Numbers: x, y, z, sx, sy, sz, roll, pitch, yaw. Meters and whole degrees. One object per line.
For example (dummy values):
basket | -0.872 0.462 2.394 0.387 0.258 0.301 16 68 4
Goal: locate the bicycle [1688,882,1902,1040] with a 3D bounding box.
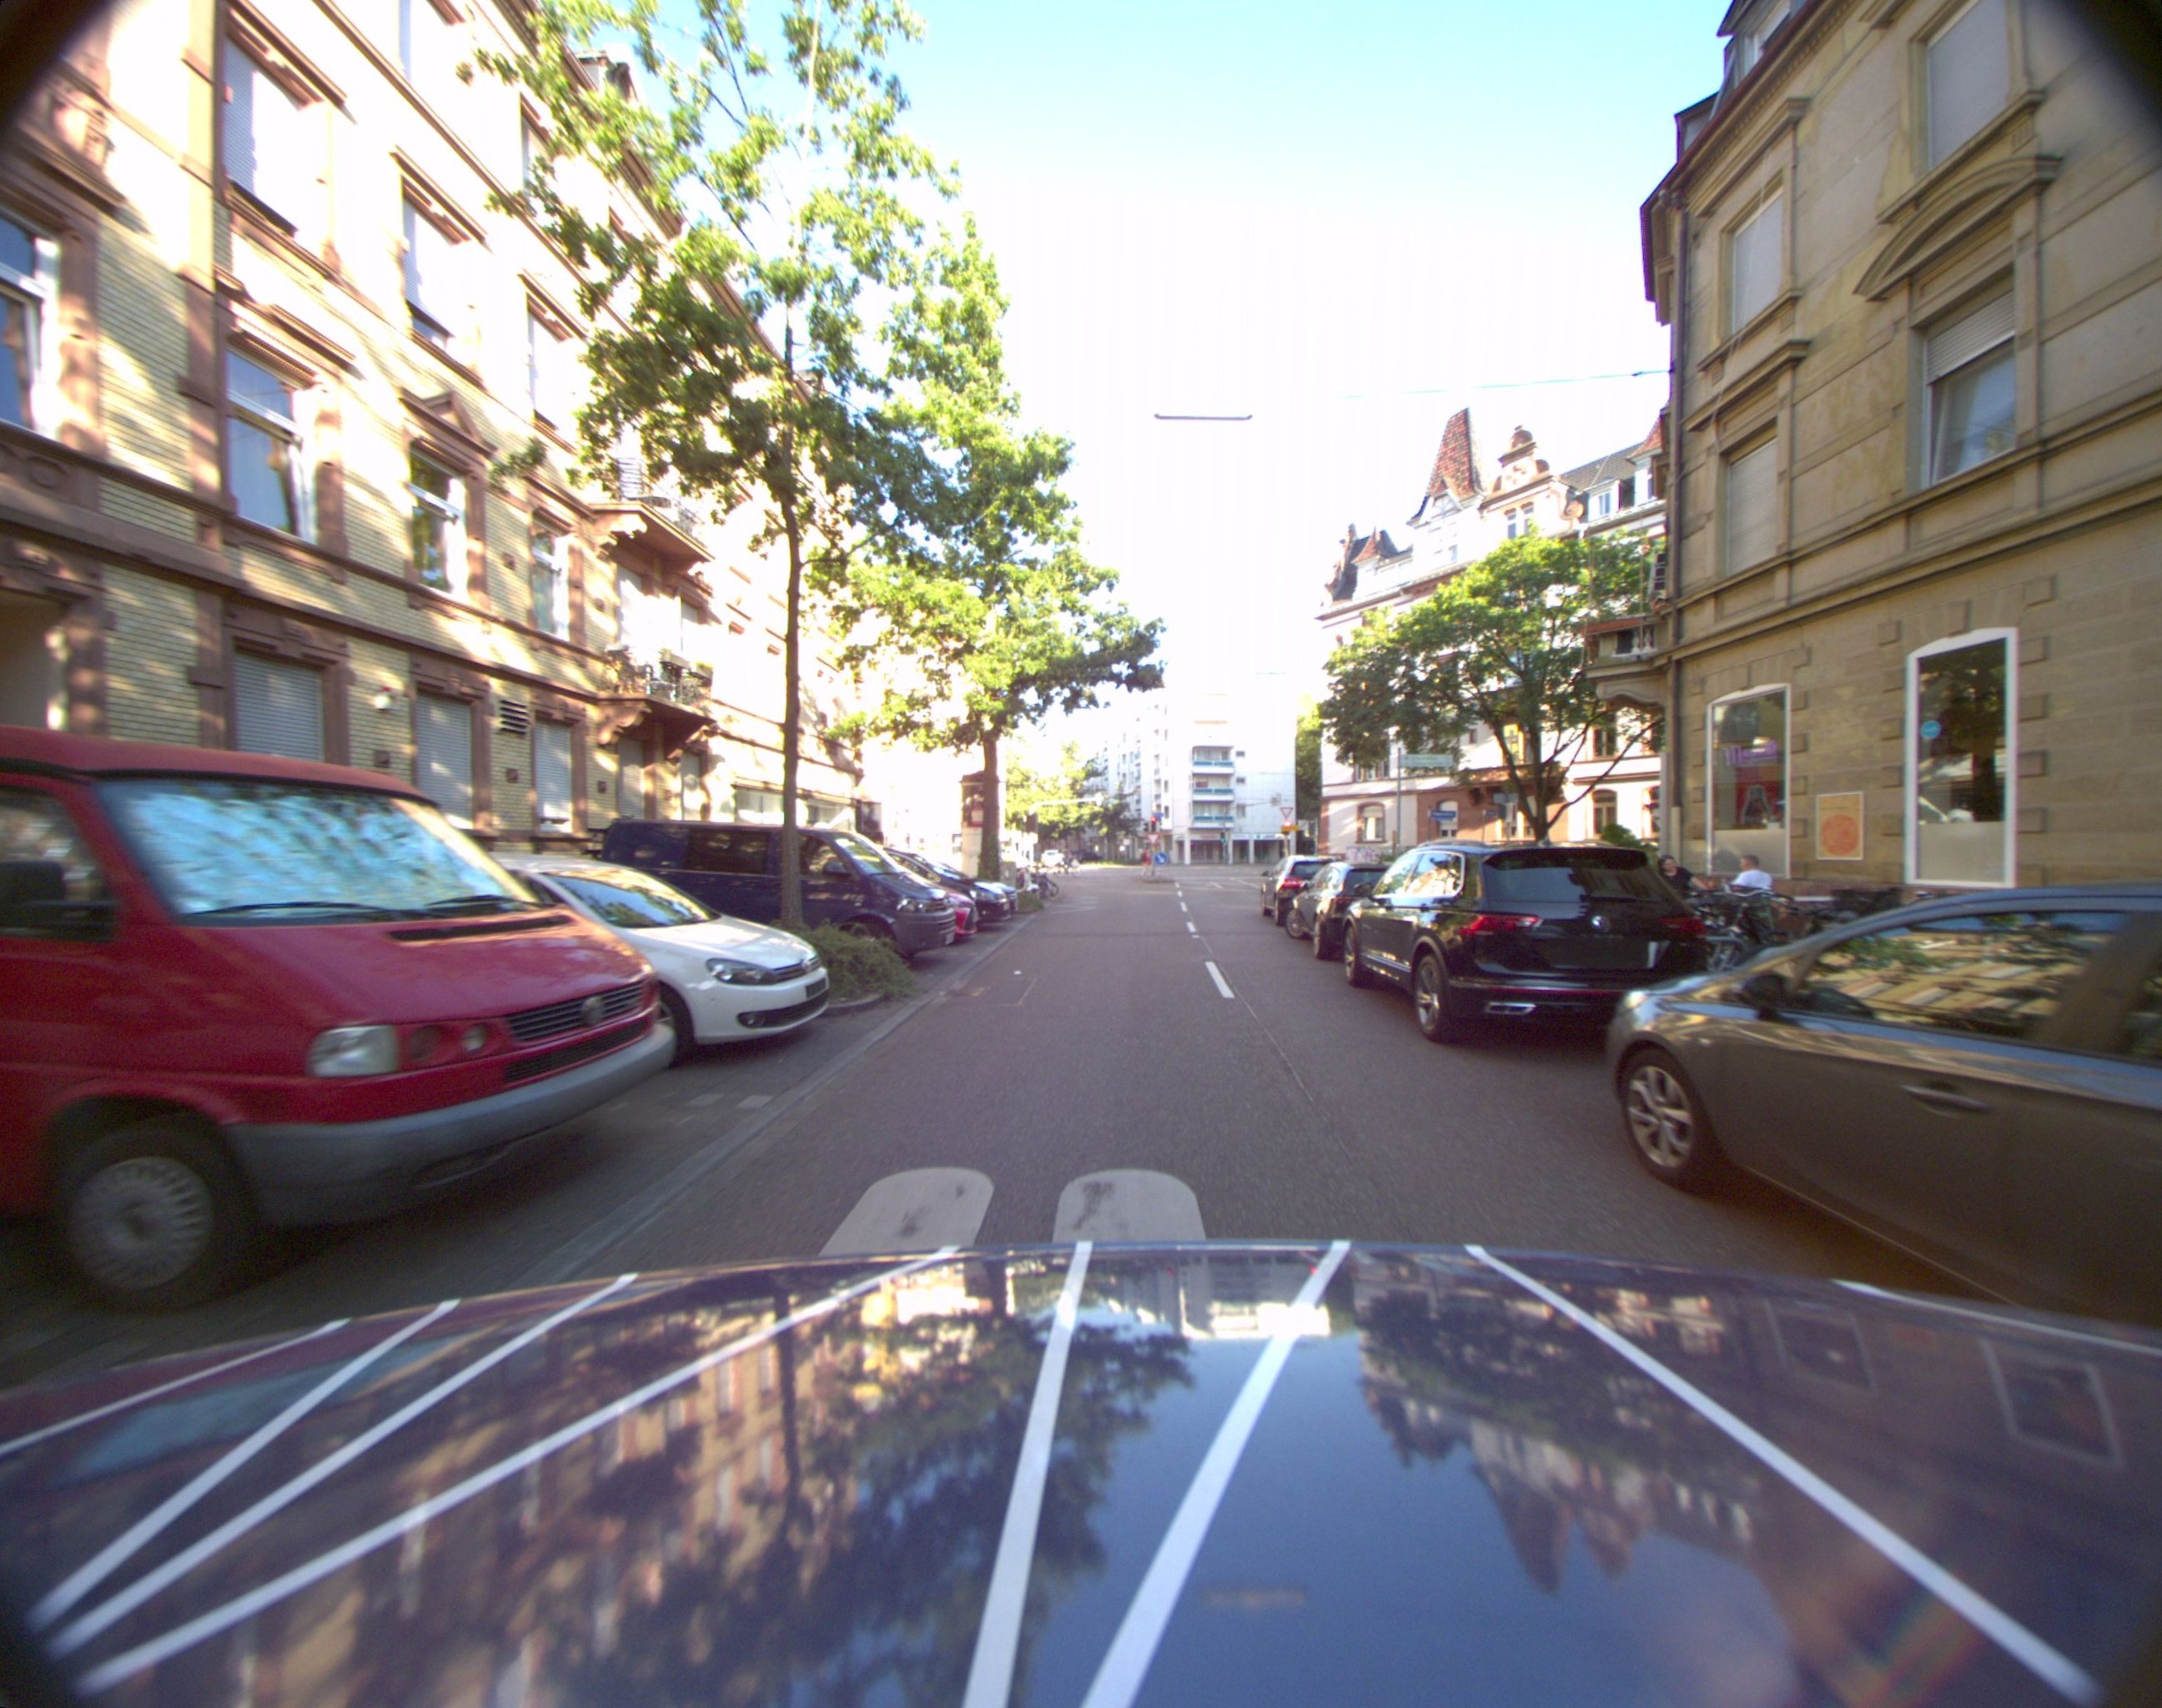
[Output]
bicycle | 6.099 0.856 6.477 1.875 1.122 0.527 -2 1 -20

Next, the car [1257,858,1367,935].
car | 5.123 0.857 17.357 1.762 1.479 4.141 0 1 8

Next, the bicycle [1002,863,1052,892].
bicycle | -2.049 0.901 29.055 1.940 1.087 0.424 1 2 -34

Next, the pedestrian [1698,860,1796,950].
pedestrian | 9.429 0.706 10.792 0.727 1.207 0.756 -1 1 1

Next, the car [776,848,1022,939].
car | -3.770 0.754 16.019 4.694 1.669 1.853 1 1 12

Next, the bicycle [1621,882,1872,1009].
bicycle | 6.397 0.875 7.369 1.871 1.122 0.528 -2 1 5

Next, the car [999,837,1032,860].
car | -9.433 -0.813 108.102 3.328 3.160 8.072 -1 1 -15

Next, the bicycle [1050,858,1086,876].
bicycle | -0.732 0.730 42.708 1.881 0.907 0.633 -3 1 -27

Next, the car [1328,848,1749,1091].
car | 3.757 0.749 7.325 1.762 1.590 4.553 0 0 7

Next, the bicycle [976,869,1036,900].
bicycle | -2.473 0.999 25.106 1.934 0.922 0.354 2 2 2

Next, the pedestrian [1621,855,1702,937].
pedestrian | 9.293 0.657 12.186 0.727 1.252 0.757 -1 1 1

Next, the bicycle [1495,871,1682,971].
bicycle | 6.210 0.814 9.361 1.871 1.122 0.528 -2 1 5

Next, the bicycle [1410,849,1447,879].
bicycle | 14.540 0.384 31.865 0.547 1.189 2.960 -1 1 7

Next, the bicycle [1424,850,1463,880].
bicycle | 15.132 0.443 31.801 0.547 1.189 2.960 -1 1 7

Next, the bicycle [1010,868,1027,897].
bicycle | -2.173 0.978 26.471 0.354 0.922 1.525 2 1 4

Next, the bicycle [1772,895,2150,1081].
bicycle | 5.902 0.884 5.161 1.871 1.122 0.528 -2 1 3

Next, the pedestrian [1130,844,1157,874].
pedestrian | 3.533 0.291 43.062 1.175 1.670 1.005 -1 1 -27

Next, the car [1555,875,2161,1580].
car | 3.344 0.870 2.171 1.762 1.492 4.061 0 0 6

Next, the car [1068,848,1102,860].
car | 0.549 -0.043 105.044 4.308 1.576 1.997 -1 1 -17

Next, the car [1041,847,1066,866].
car | -2.549 0.214 71.984 1.998 1.740 4.000 -1 1 2

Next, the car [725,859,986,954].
car | -3.911 0.888 13.620 4.115 1.526 1.725 -1 1 3

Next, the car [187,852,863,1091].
car | -4.077 0.788 6.093 4.063 1.501 1.879 1 1 2

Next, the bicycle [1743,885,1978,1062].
bicycle | 6.035 0.857 5.871 1.875 1.122 0.527 -2 1 -20

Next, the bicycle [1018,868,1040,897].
bicycle | -1.784 0.979 26.325 0.354 0.922 1.526 2 1 10

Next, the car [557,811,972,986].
car | -4.277 0.584 10.834 5.032 2.202 1.993 -1 1 3

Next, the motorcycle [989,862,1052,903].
motorcycle | -1.931 0.901 24.447 1.902 1.227 0.686 1 1 3

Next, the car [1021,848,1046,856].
car | -9.009 -0.388 142.961 4.307 1.576 1.997 -1 1 -16

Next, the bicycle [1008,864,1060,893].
bicycle | -1.764 0.936 28.661 1.940 1.046 0.501 1 2 -34

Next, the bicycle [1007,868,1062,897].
bicycle | -1.693 1.042 27.727 1.938 0.982 0.496 1 2 -19

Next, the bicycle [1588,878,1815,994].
bicycle | 6.515 0.853 8.040 1.871 1.122 0.528 -2 1 5

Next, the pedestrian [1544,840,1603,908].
pedestrian | 13.930 0.553 21.525 1.118 1.888 0.842 -1 1 -7

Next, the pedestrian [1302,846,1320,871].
pedestrian | 16.076 0.315 53.118 0.986 1.688 0.867 -2 1 -43

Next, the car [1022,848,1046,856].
car | -9.200 -0.400 148.044 4.307 1.576 1.997 -1 1 -16

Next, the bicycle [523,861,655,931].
bicycle | -9.393 0.744 14.668 0.672 1.165 2.593 2 1 5

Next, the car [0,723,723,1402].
car | -4.342 0.582 3.290 4.686 2.022 1.879 1 1 2

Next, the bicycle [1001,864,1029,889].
bicycle | -2.769 0.933 31.867 1.000 1.021 0.737 -1 1 -19

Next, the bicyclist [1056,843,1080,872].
bicyclist | -0.726 0.197 42.719 1.082 1.544 0.633 -3 1 -27

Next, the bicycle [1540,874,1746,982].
bicycle | 6.376 0.832 8.677 1.871 1.122 0.528 -2 1 5

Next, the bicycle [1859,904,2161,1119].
bicycle | 5.869 0.906 4.517 1.871 1.122 0.528 -2 1 3

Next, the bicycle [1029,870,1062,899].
bicycle | -1.194 1.044 25.958 0.353 0.922 1.416 3 2 33

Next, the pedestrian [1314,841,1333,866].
pedestrian | 16.741 -0.031 52.451 0.986 1.688 0.867 -2 1 -43

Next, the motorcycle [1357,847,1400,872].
motorcycle | 15.812 0.286 40.400 2.112 1.258 0.841 -1 1 -22

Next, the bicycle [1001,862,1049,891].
bicycle | -2.184 0.881 29.922 1.940 1.087 0.424 1 2 -36

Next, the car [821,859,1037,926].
car | -3.585 0.883 18.426 4.795 1.405 1.852 1 1 5

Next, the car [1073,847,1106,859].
car | 1.088 -0.123 102.658 4.003 1.576 1.997 -1 1 -17

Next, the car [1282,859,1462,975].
car | 4.465 0.842 12.392 1.762 1.443 4.553 0 1 8
